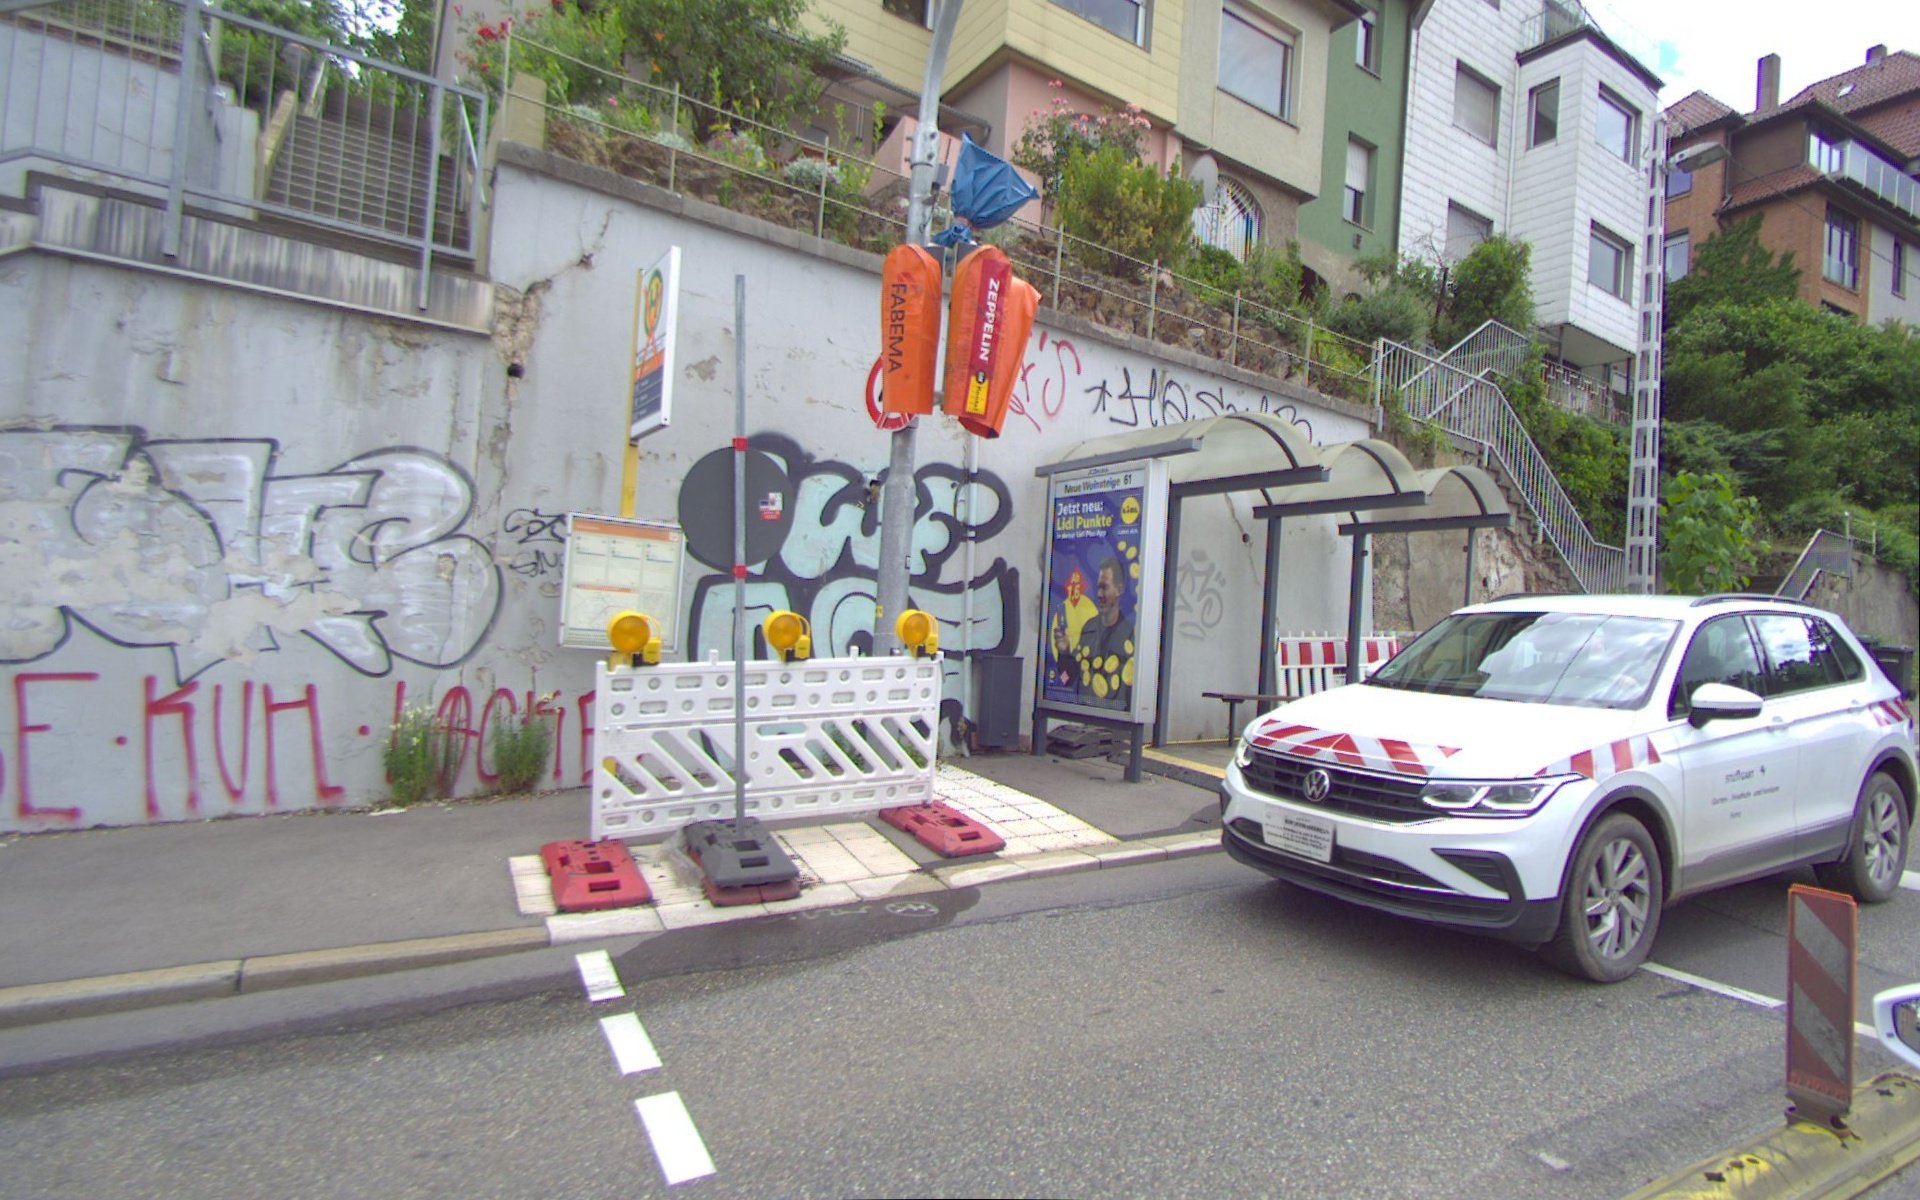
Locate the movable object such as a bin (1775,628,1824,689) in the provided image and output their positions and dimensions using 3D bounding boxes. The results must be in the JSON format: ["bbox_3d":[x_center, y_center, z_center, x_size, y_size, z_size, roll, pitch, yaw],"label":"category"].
[{"bbox_3d":[15.334,1.056,18.342,0.617,1.068,0.465,1,2,-30],"label":"movable object such as a bin"}]

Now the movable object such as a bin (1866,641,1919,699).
[{"bbox_3d":[16.019,1.185,17.255,0.617,0.947,0.465,1,2,-30],"label":"movable object such as a bin"}]

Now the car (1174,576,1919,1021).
[{"bbox_3d":[3.407,0.762,5.506,4.211,1.621,1.834,1,0,-29],"label":"car"}]

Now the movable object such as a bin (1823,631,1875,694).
[{"bbox_3d":[15.663,1.096,17.701,0.617,1.068,0.465,1,2,-30],"label":"movable object such as a bin"}]
